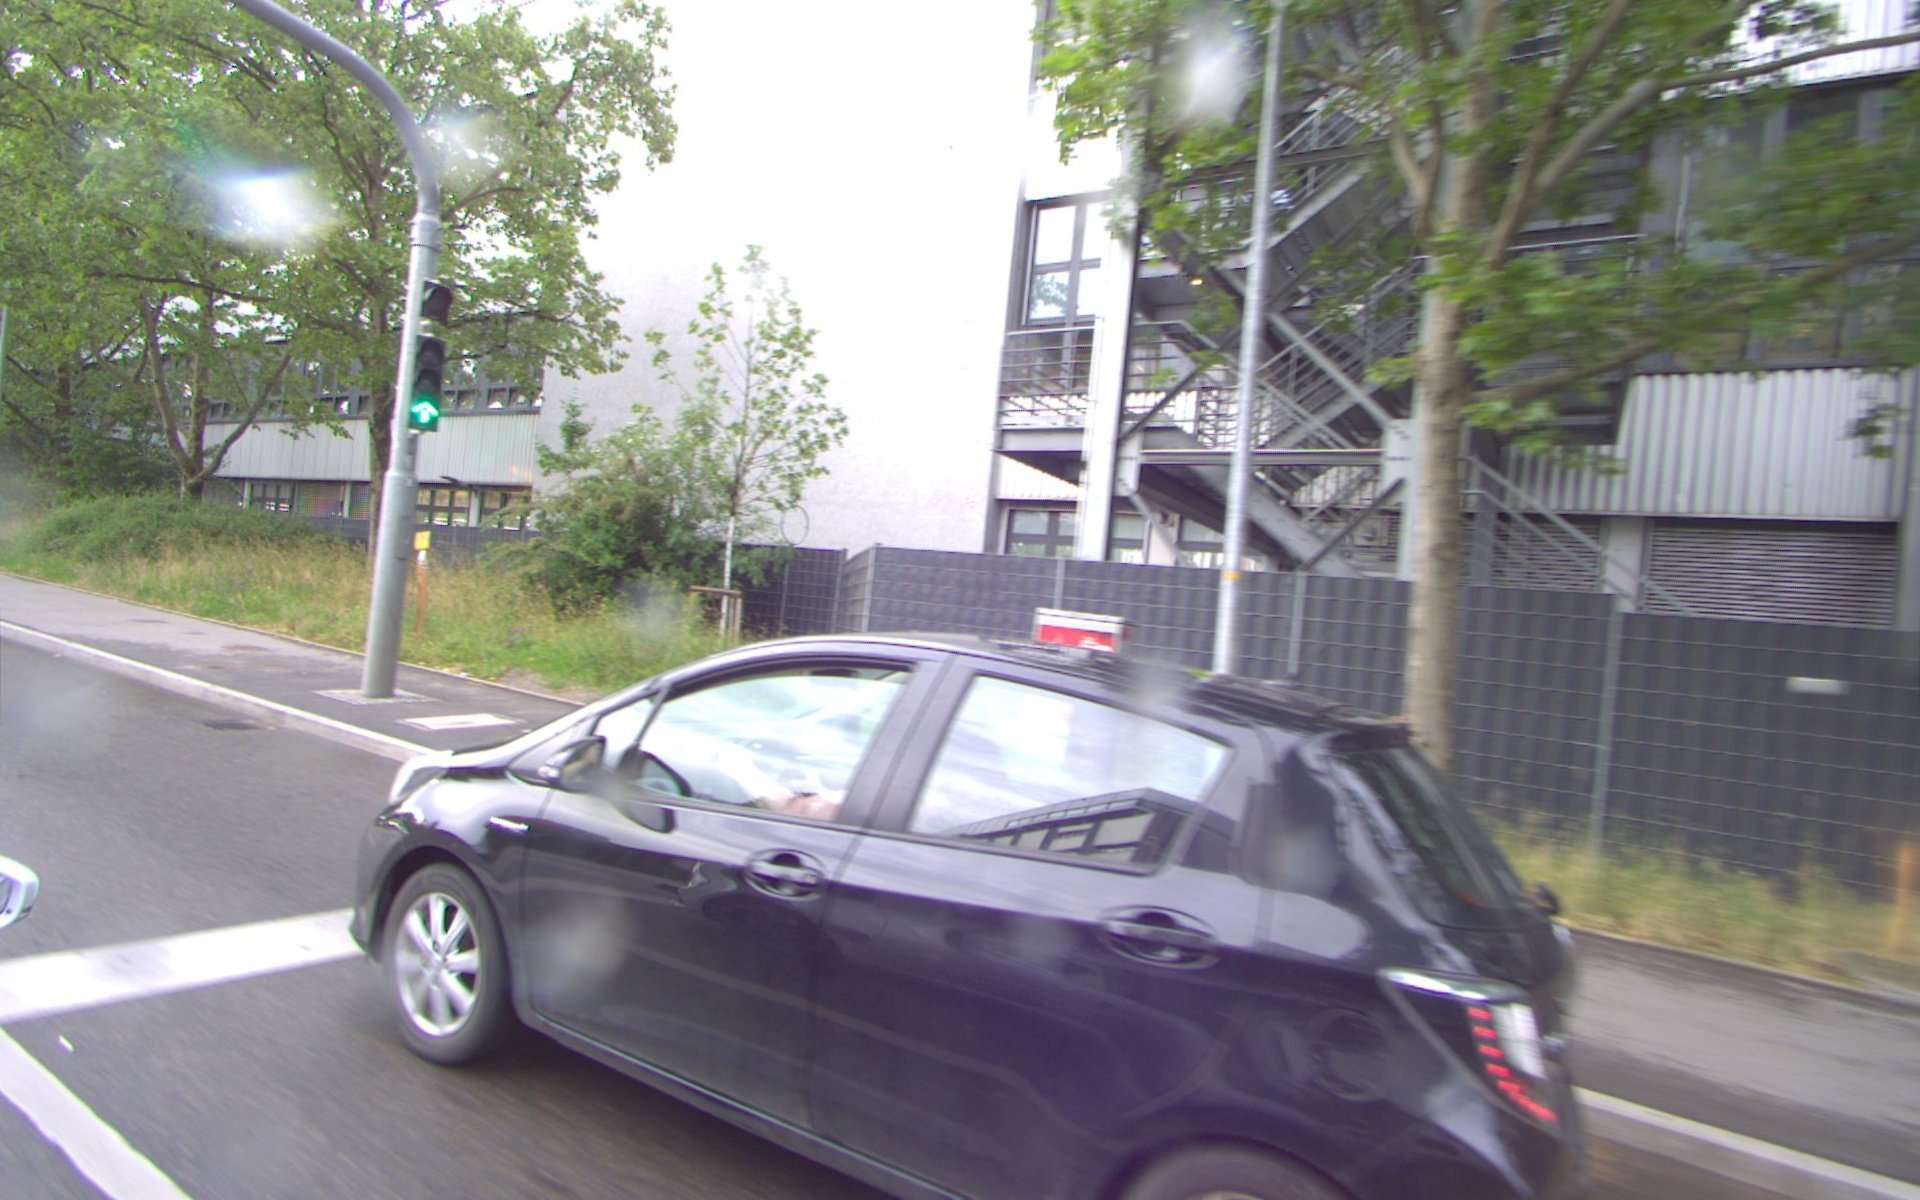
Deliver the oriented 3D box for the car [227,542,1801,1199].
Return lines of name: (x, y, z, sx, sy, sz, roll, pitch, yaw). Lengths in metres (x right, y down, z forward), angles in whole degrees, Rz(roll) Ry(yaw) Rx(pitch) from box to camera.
car: (-0.187, 0.802, 3.252, 4.005, 1.512, 1.879, 6, 0, 28)
